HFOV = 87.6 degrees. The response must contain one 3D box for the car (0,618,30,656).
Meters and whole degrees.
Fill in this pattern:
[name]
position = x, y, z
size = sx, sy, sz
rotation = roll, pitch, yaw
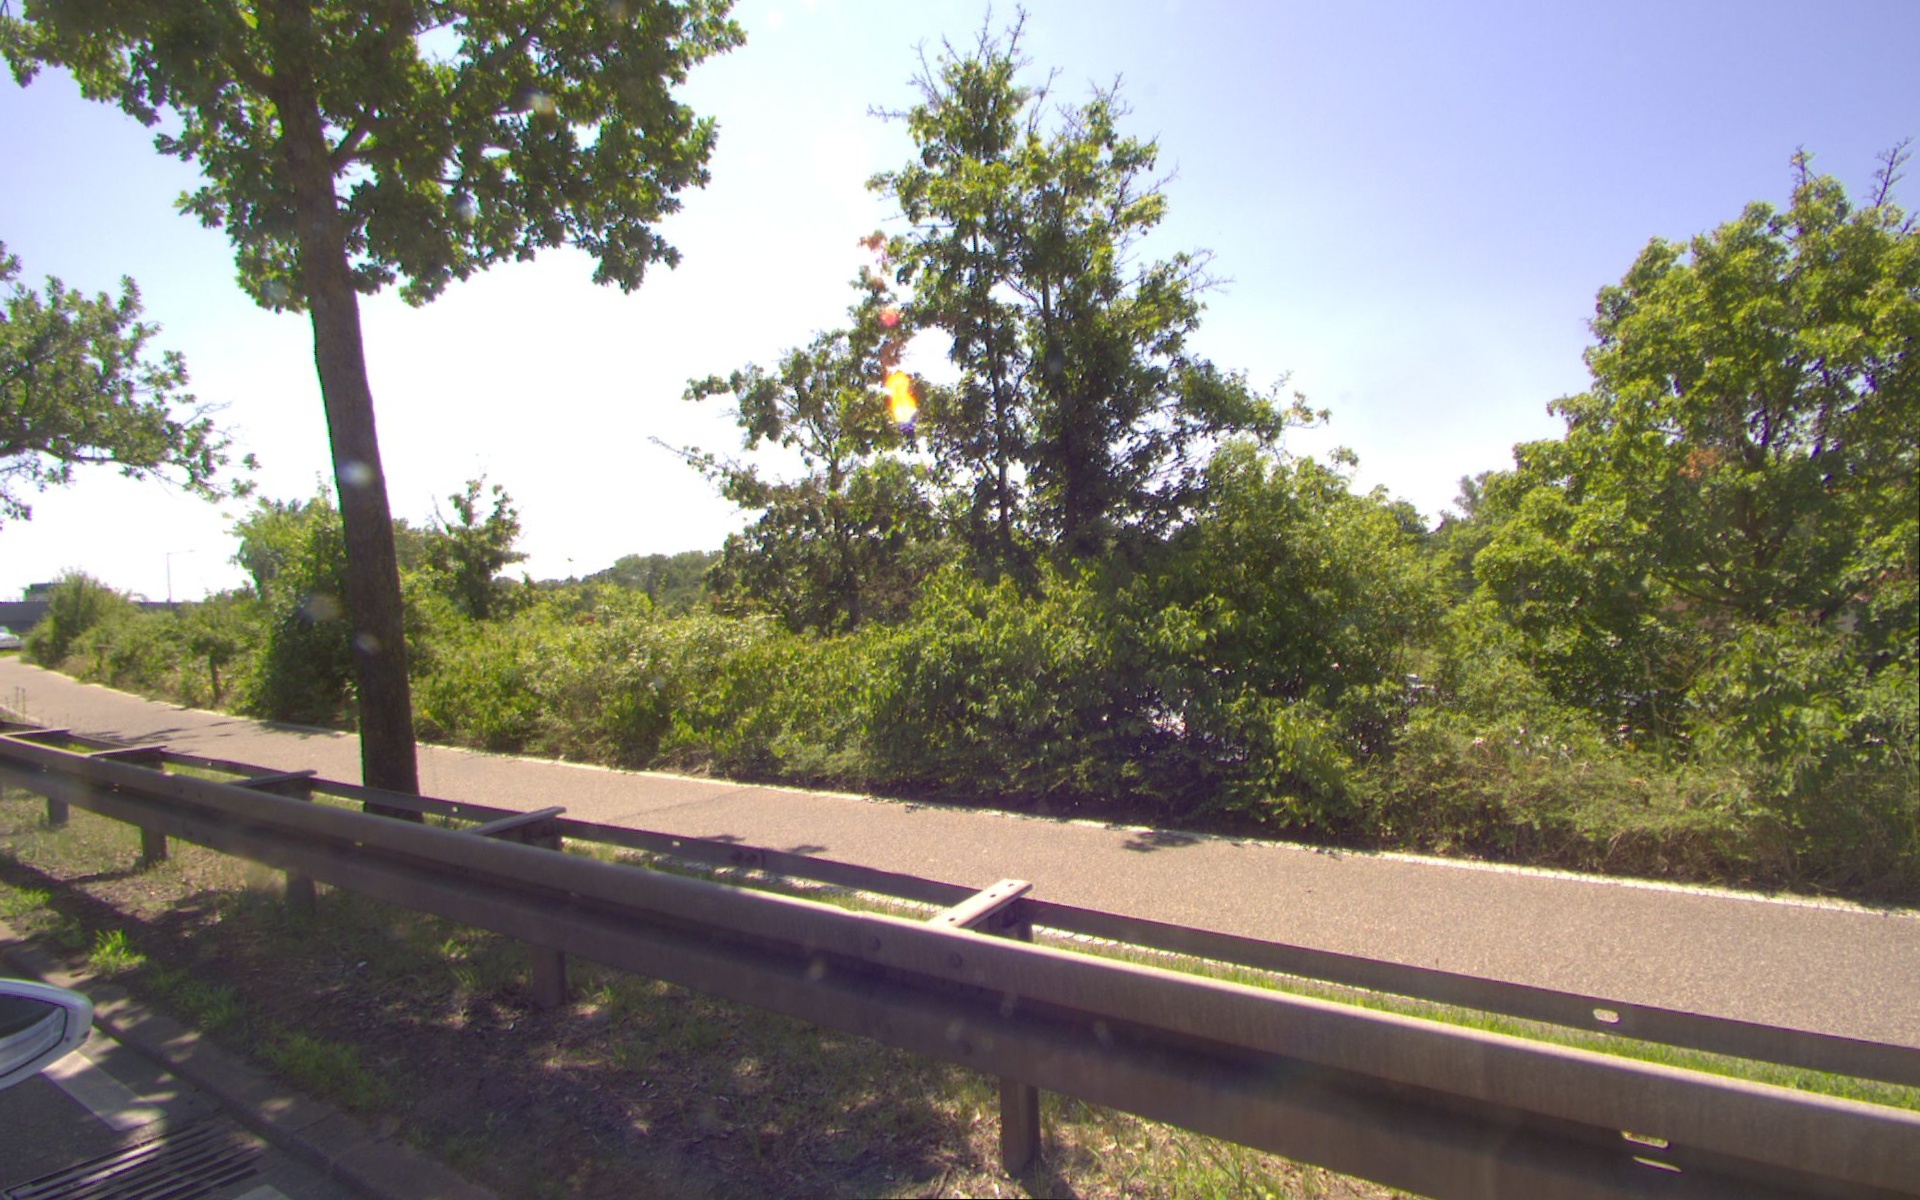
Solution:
[car]
position = -48.711, 1.857, 50.506
size = 1.975, 1.831, 4.813
rotation = 1, -2, -35
